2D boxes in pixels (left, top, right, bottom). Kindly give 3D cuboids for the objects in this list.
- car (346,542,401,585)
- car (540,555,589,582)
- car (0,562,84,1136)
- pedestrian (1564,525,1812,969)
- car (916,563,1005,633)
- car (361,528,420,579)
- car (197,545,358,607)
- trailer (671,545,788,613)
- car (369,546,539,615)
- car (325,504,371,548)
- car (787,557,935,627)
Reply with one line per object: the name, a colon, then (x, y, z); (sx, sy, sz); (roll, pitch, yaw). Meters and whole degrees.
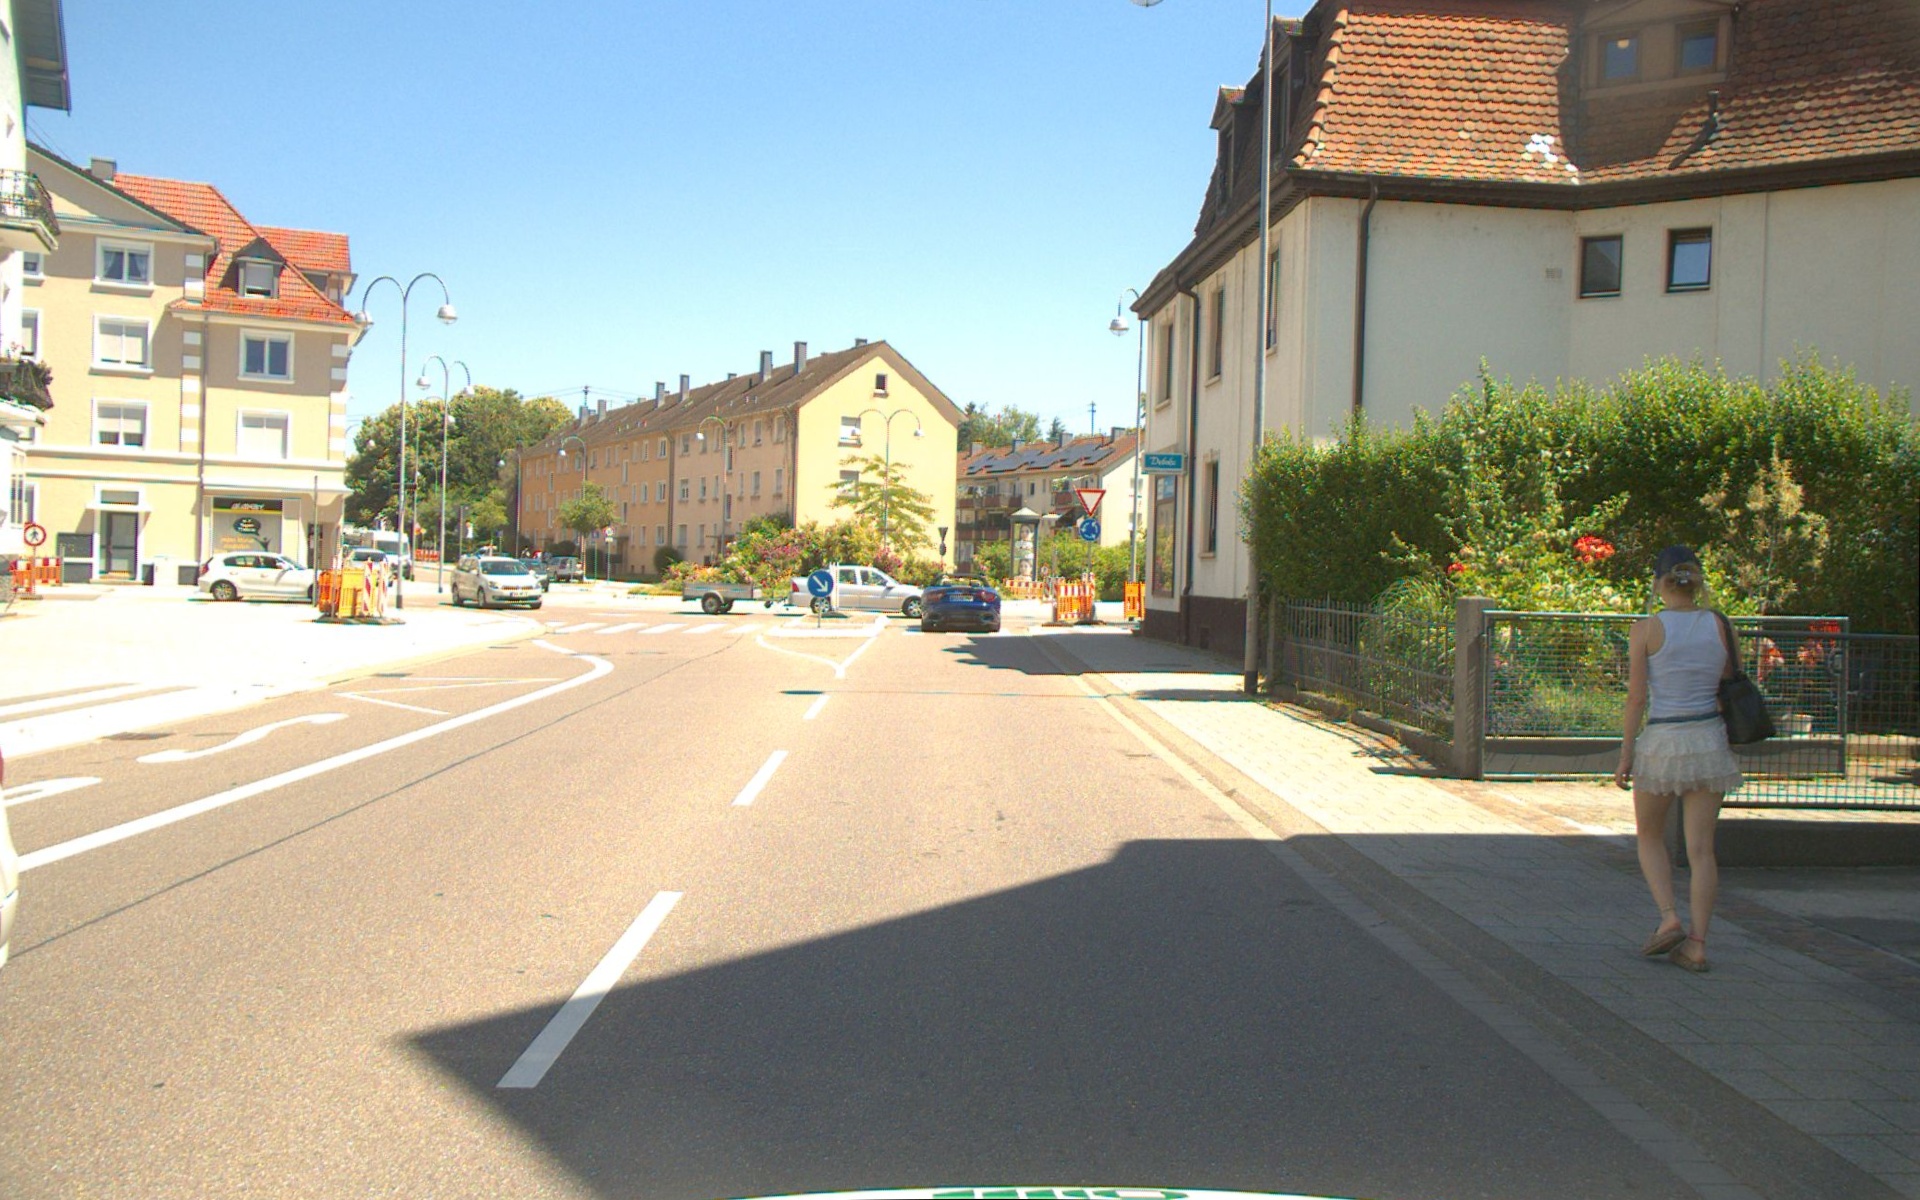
car: (-24.527, -1.527, 69.126); (1.753, 1.715, 4.658); (1, 1, -25)
car: (-23.844, -1.896, 99.694); (1.793, 1.526, 3.960); (3, 0, -30)
car: (-3.419, 0.641, 2.846); (1.784, 1.557, 3.948); (1, -1, -2)
pedestrian: (2.894, 0.550, 6.635); (0.611, 1.672, 0.771); (0, 0, -5)
car: (-0.047, -0.031, 39.849); (1.834, 1.557, 4.503); (1, 0, -4)
car: (-31.183, -2.561, 90.456); (2.119, 2.577, 6.184); (3, 0, -27)
car: (-19.910, -0.688, 48.386); (4.045, 1.578, 1.781); (3, 0, -14)
trailer: (-6.439, -0.587, 46.472); (3.126, 1.747, 1.754); (3, 0, -7)
car: (-14.506, -0.579, 47.604); (4.297, 1.555, 1.842); (-5, 4, -7)
car: (-38.872, -4.649, 105.039); (2.119, 2.577, 4.814); (3, 0, -27)
car: (-2.833, -0.231, 46.974); (4.036, 1.777, 1.785); (3, 0, -7)
